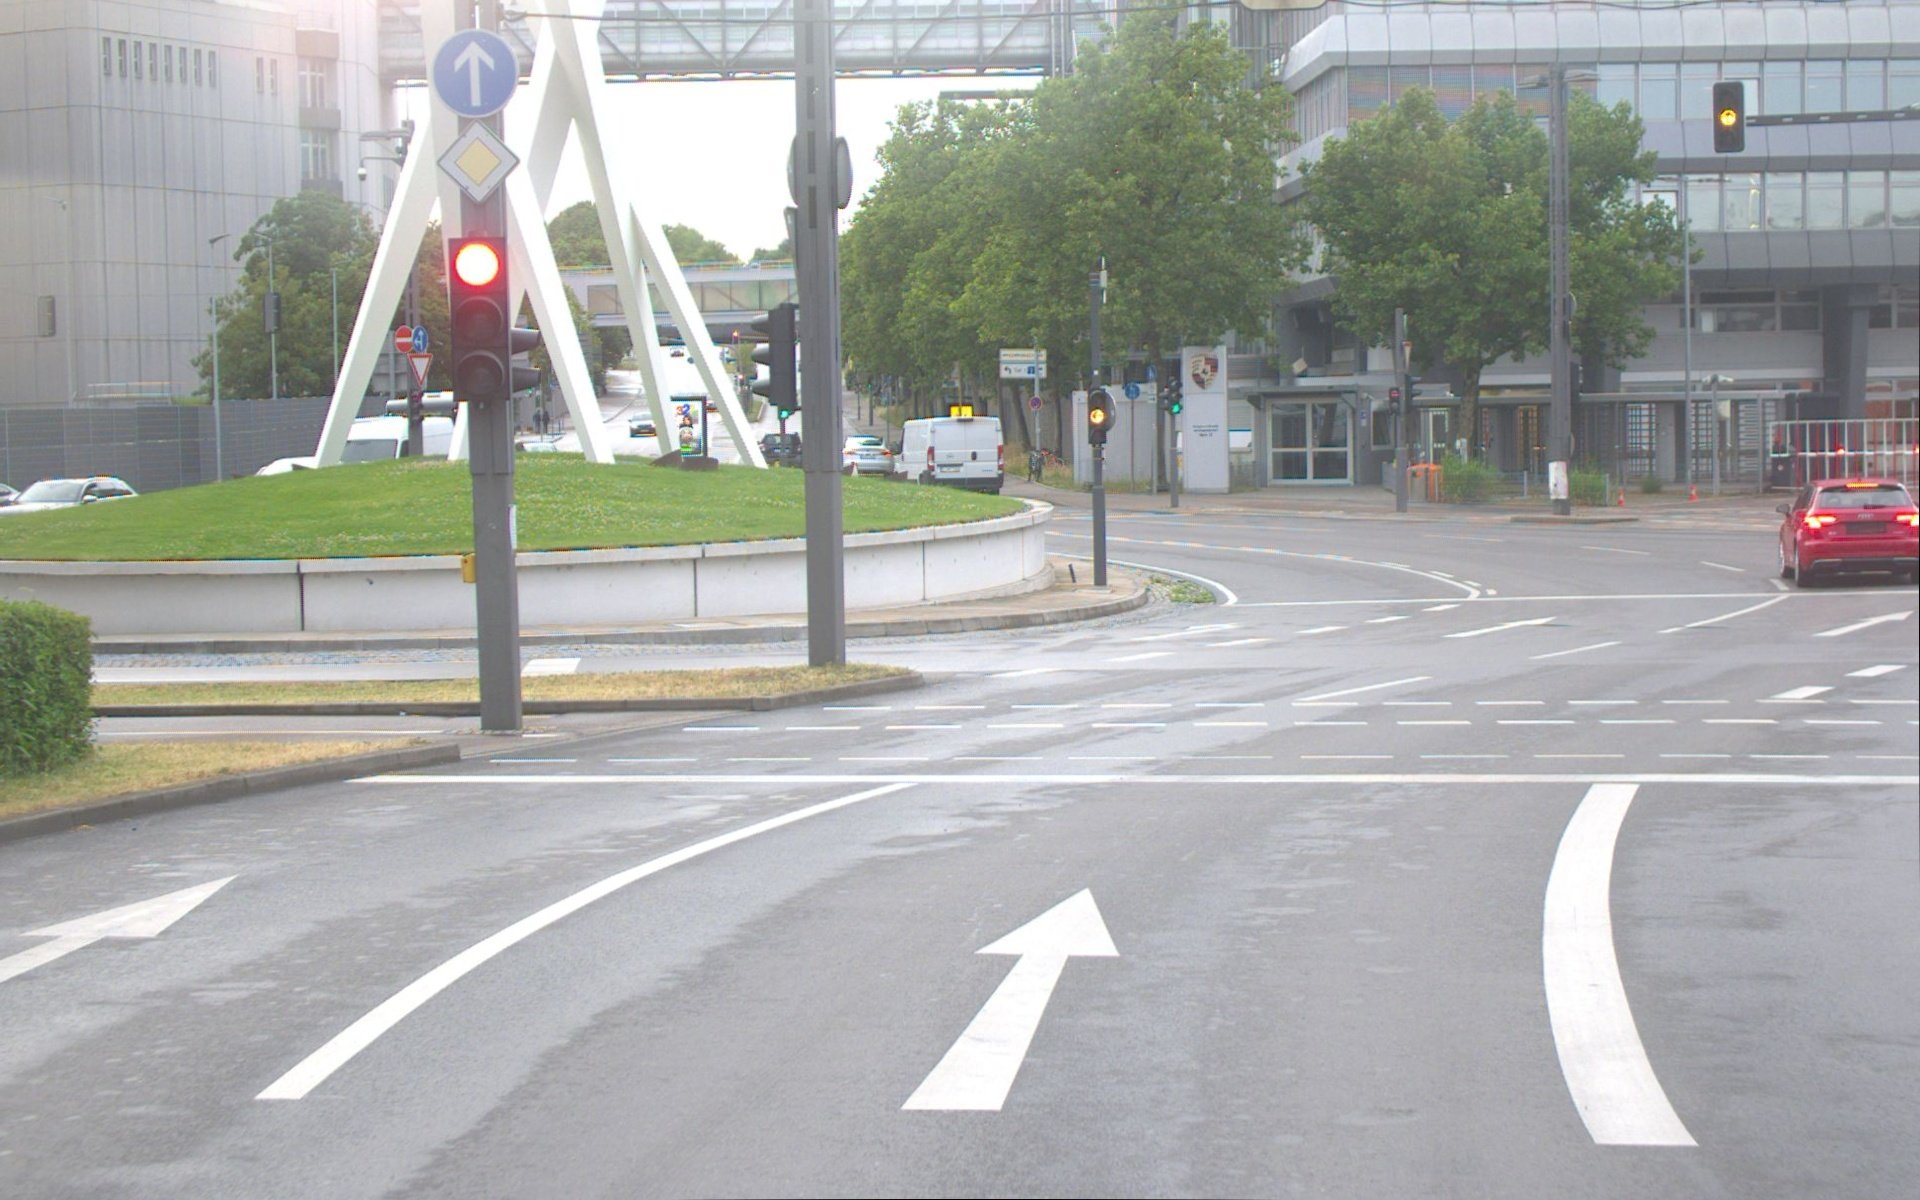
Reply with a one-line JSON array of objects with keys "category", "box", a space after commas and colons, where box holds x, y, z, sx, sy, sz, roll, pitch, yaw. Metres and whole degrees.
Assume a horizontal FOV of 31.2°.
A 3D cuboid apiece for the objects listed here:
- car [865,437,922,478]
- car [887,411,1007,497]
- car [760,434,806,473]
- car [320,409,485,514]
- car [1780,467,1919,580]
[{"category": "car", "box": [-2.299, -4.901, 118.141, 1.667, 1.296, 3.887, -1, 1, -5]}, {"category": "car", "box": [-0.376, -3.833, 90.944, 2.232, 2.100, 4.956, -1, 1, -12]}, {"category": "car", "box": [-6.290, -5.208, 122.433, 1.557, 1.284, 3.414, -1, 1, -2]}, {"category": "car", "box": [-13.449, -3.348, 83.249, 1.995, 2.438, 5.424, -1, 2, 13]}, {"category": "car", "box": [12.361, -1.031, 46.648, 1.775, 1.459, 3.728, 0, 1, 23]}]
